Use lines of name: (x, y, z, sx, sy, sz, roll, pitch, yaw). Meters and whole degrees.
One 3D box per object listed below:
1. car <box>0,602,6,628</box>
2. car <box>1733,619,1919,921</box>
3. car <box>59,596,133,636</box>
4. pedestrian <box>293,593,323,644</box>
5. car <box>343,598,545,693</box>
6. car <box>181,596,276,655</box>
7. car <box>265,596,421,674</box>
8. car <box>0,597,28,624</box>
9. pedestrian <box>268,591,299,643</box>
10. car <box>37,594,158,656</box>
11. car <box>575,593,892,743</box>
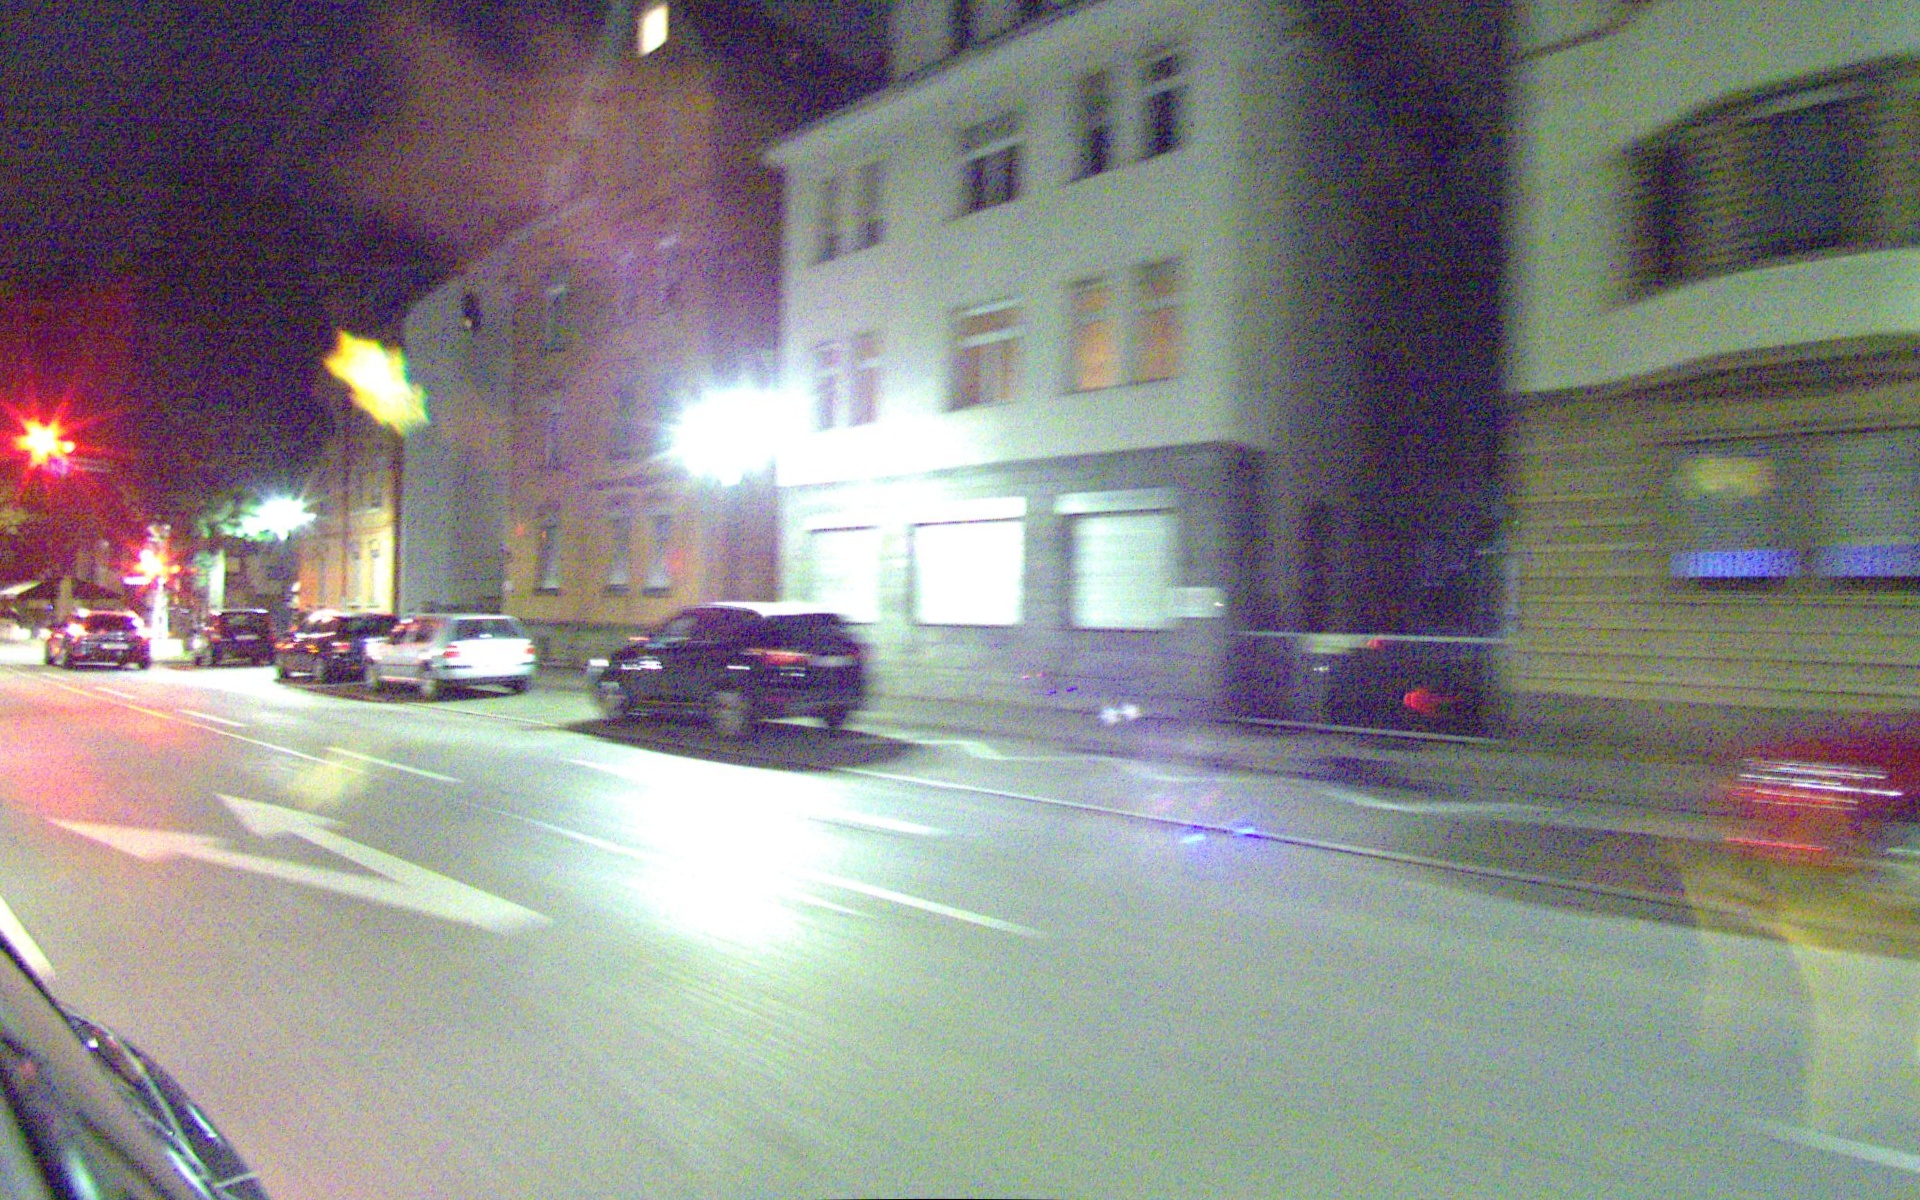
car: (-56.287, 0.827, 58.018, 4.470, 1.490, 1.841, 0, -1, 41)
car: (6.236, 0.833, 4.738, 4.122, 1.426, 1.767, 0, 0, 39)
car: (-36.241, 0.628, 42.429, 4.023, 1.608, 1.866, 0, 0, 42)
pedestrian: (-22.325, 0.632, 34.640, 0.700, 1.703, 0.999, 3, -2, -39)
car: (-9.354, 0.740, 18.234, 3.996, 1.502, 1.767, 0, 1, 39)
car: (-20.464, 0.665, 28.262, 1.574, 1.502, 3.701, -1, 1, -45)
car: (-13.525, 0.692, 22.085, 4.329, 1.502, 1.765, 0, 1, 43)
car: (-52.272, 0.559, 55.057, 4.441, 1.444, 1.841, 0, 0, 41)
pedestrian: (-22.863, 0.584, 34.186, 0.700, 1.703, 1.126, 3, -2, -39)
car: (-21.919, 0.626, 25.667, 3.998, 1.440, 1.697, 0, -3, 41)
car: (-3.055, 0.733, 13.059, 4.410, 1.594, 1.765, 0, 1, 42)
